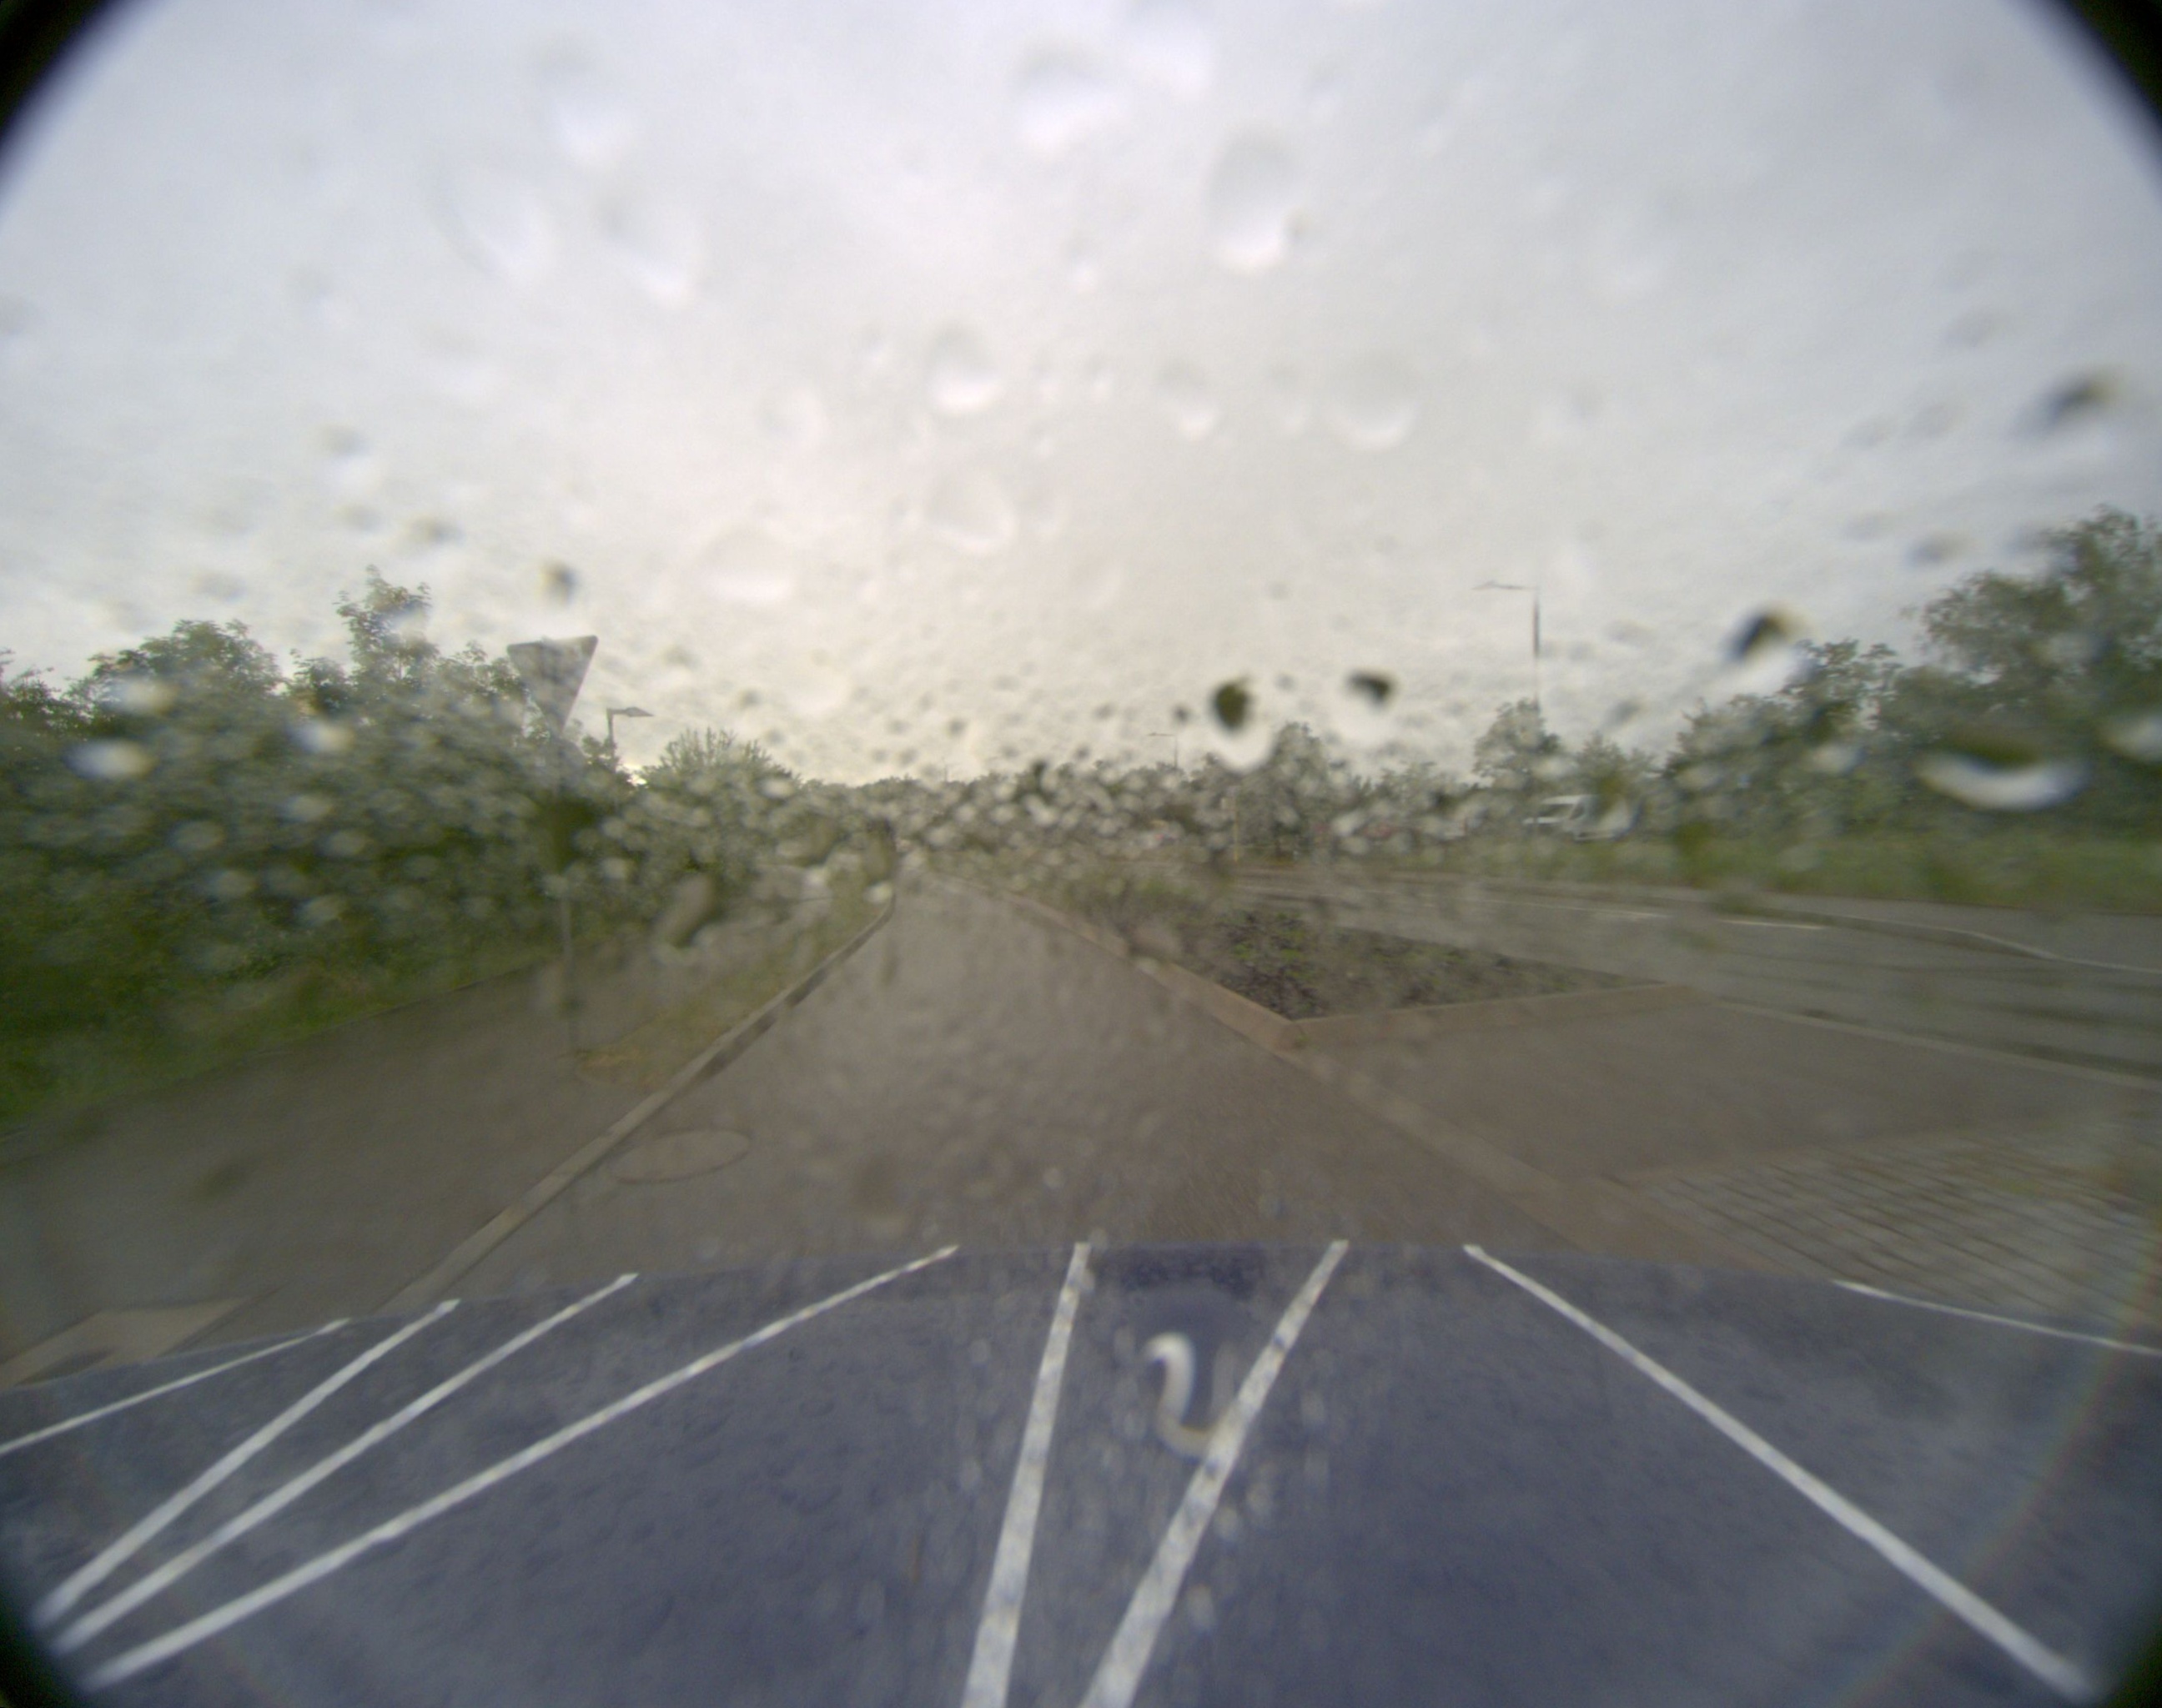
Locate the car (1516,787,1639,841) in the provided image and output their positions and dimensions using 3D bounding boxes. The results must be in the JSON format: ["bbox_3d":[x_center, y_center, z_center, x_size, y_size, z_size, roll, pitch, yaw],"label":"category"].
[{"bbox_3d":[24.408,-2.007,37.286,6.585,2.385,2.133,-4,4,-27],"label":"car"}]

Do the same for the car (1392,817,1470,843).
[{"bbox_3d":[20.149,-1.370,43.721,4.004,1.356,1.844,-2,2,-22],"label":"car"}]

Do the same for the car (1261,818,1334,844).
[{"bbox_3d":[15.302,-1.637,53.651,4.727,1.684,2.000,-3,2,-24],"label":"car"}]

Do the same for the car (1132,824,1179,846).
[{"bbox_3d":[6.126,-1.540,62.818,1.698,1.559,4.532,-5,2,-25],"label":"car"}]

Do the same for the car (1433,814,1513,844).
[{"bbox_3d":[21.452,-1.383,41.556,4.003,1.356,1.649,-5,3,-22],"label":"car"}]

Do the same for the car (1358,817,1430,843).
[{"bbox_3d":[19.342,-1.461,46.917,4.004,1.461,1.844,-2,2,-23],"label":"car"}]
